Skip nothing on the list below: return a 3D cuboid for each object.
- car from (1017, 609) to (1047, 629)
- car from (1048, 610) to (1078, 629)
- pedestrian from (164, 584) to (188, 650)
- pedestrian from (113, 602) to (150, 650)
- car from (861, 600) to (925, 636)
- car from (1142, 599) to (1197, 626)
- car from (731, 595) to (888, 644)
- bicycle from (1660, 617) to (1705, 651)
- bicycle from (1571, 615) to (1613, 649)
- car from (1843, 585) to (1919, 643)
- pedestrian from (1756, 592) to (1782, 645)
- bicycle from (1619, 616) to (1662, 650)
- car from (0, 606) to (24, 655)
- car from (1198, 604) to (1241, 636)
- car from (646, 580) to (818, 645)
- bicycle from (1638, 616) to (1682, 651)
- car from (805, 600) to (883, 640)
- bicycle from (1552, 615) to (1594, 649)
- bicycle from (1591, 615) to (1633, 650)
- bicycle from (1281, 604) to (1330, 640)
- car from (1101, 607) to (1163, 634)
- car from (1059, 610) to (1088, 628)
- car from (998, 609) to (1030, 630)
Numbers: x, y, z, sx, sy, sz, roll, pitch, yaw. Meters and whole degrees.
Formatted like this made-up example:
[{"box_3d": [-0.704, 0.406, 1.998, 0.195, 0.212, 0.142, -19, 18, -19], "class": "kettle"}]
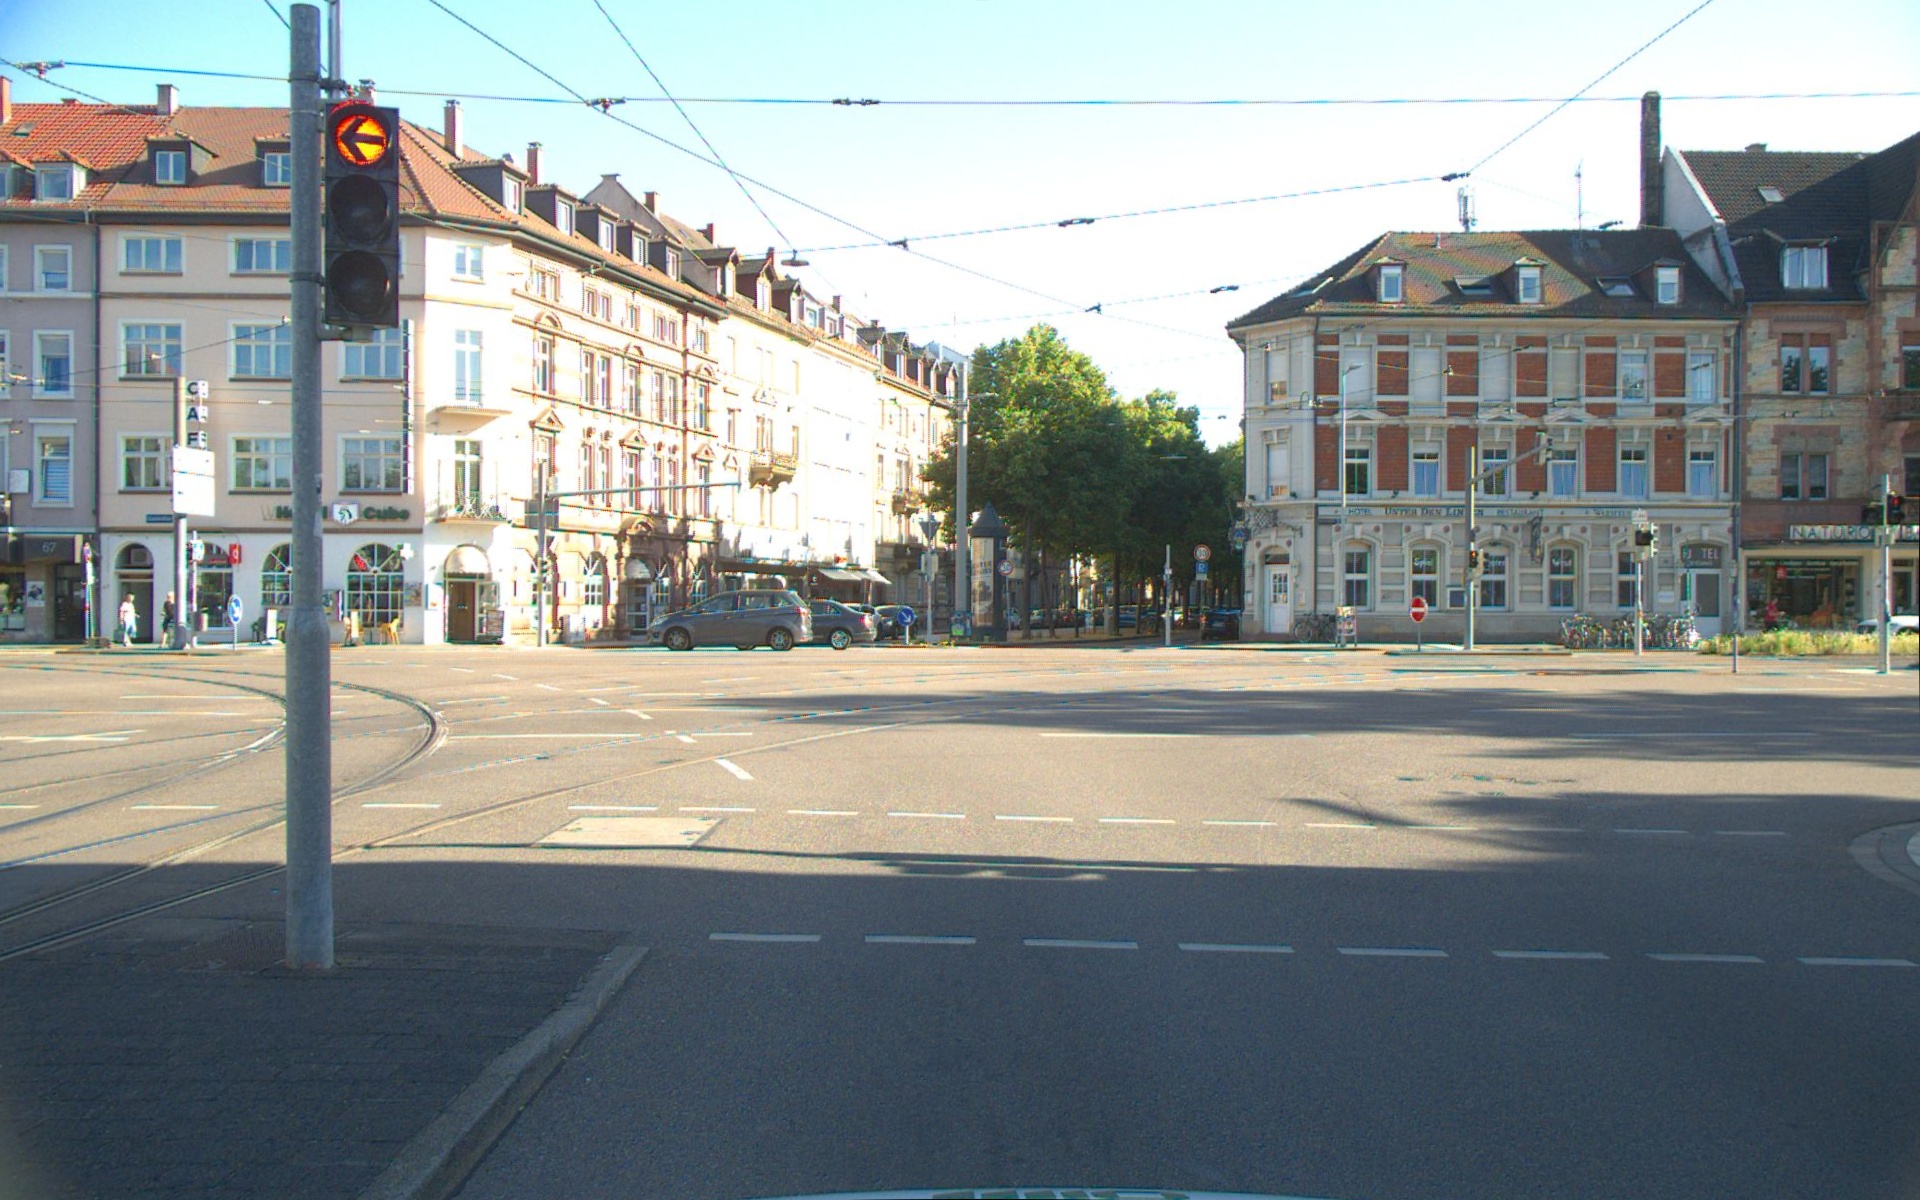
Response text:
[{"box_3d": [5.332, 1.407, 122.842, 1.704, 1.422, 4.127, 3, 0, 9], "class": "car"}, {"box_3d": [8.241, 1.531, 131.709, 1.704, 1.422, 4.127, 3, 0, 13], "class": "car"}, {"box_3d": [-24.667, 0.536, 52.036, 0.498, 2.049, 0.505, 0, 0, 2], "class": "pedestrian"}, {"box_3d": [-27.511, 0.861, 54.938, 0.774, 1.553, 0.859, 0, 0, 0], "class": "pedestrian"}, {"box_3d": [-2.961, 0.793, 73.475, 1.951, 1.540, 4.004, 0, 0, 11], "class": "car"}, {"box_3d": [16.955, 1.006, 133.667, 4.026, 1.952, 1.746, 3, 0, 21], "class": "car"}, {"box_3d": [-4.289, 0.544, 47.684, 4.420, 1.364, 1.999, 0, 0, -3], "class": "car"}, {"box_3d": [23.329, 1.082, 53.426, 0.593, 1.069, 1.641, 0, 0, -6], "class": "bicycle"}, {"box_3d": [20.465, 1.034, 53.571, 0.593, 1.069, 1.641, 0, 0, -6], "class": "bicycle"}, {"box_3d": [28.948, 0.392, 48.787, 4.747, 1.689, 2.000, 0, 0, 1], "class": "car"}, {"box_3d": [27.683, 0.628, 56.617, 0.694, 1.782, 0.421, 0, 0, 0], "class": "pedestrian"}, {"box_3d": [21.942, 1.058, 53.329, 0.593, 1.069, 1.641, 0, 0, -6], "class": "bicycle"}, {"box_3d": [-32.064, 0.995, 52.157, 3.910, 1.489, 1.998, -1, 1, -6], "class": "car"}, {"box_3d": [12.973, 0.999, 82.468, 1.616, 1.551, 3.755, 0, -1, 17], "class": "car"}, {"box_3d": [-6.112, 0.327, 44.746, 4.418, 1.701, 1.999, 0, 0, -2], "class": "car"}, {"box_3d": [22.603, 1.070, 53.405, 0.593, 1.069, 1.641, 0, 0, -6], "class": "bicycle"}, {"box_3d": [-4.653, 0.786, 67.082, 2.052, 1.525, 4.003, 0, 0, 13], "class": "car"}, {"box_3d": [19.824, 1.022, 53.515, 0.593, 1.069, 1.641, 0, 0, -6], "class": "bicycle"}, {"box_3d": [21.116, 1.045, 53.597, 0.593, 1.069, 1.641, 0, 0, -6], "class": "bicycle"}, {"box_3d": [11.975, 0.761, 57.305, 1.603, 1.243, 0.607, 0, 0, 16], "class": "bicycle"}, {"box_3d": [12.002, 1.397, 115.387, 4.024, 1.675, 1.748, 3, 0, 15], "class": "car"}, {"box_3d": [9.418, 1.567, 136.505, 1.704, 1.422, 4.127, 3, 0, 13], "class": "car"}, {"box_3d": [3.801, 1.351, 115.842, 1.704, 1.422, 4.127, 3, 0, 9], "class": "car"}]
